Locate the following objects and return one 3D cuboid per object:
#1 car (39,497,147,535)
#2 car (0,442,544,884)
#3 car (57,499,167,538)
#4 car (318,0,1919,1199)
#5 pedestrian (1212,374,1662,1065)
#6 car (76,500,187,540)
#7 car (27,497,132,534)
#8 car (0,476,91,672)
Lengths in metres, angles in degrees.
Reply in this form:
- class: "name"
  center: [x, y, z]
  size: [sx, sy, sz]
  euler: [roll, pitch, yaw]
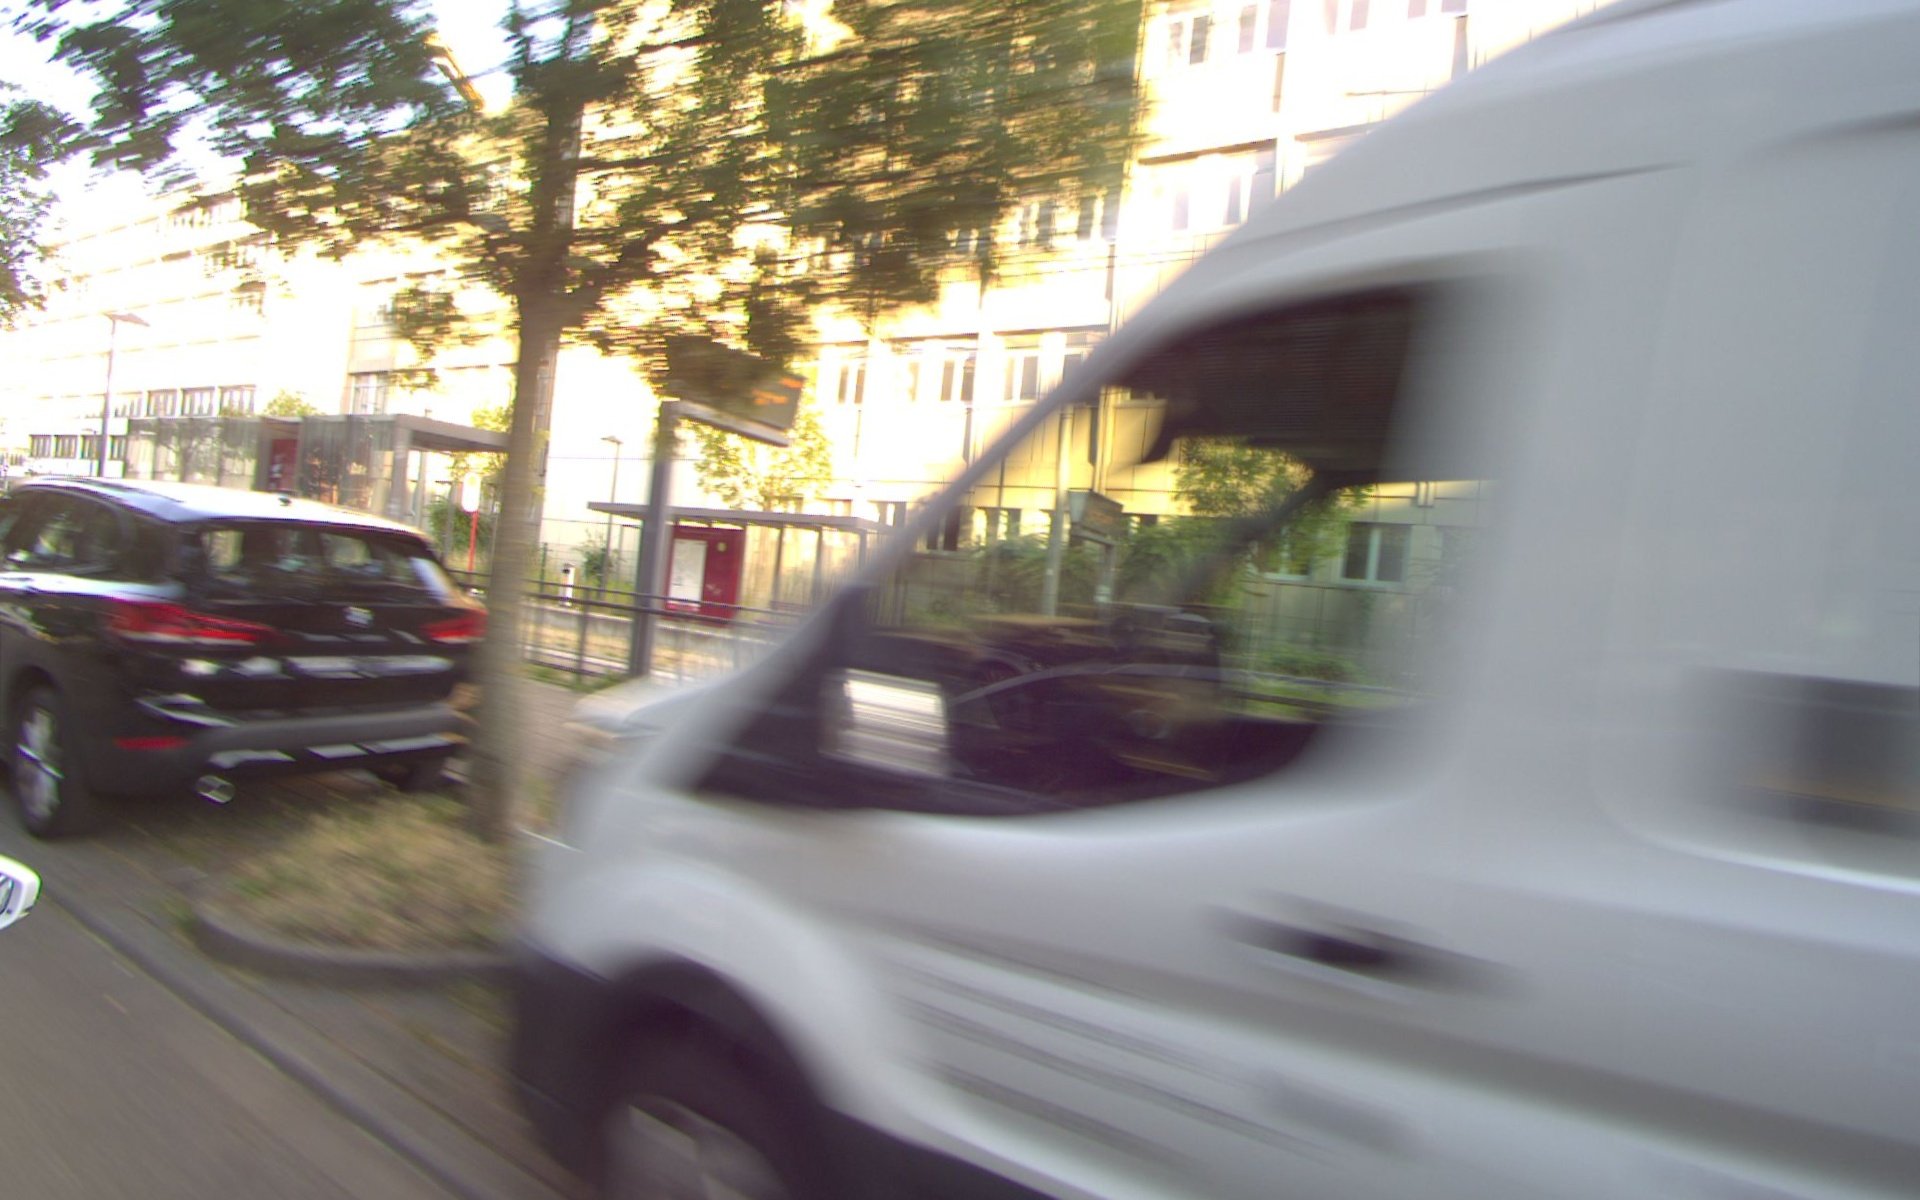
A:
- class: "car"
  center: [-45.706, -4.429, 53.110]
  size: [1.648, 1.506, 3.987]
  euler: [6, 1, 33]
- class: "car"
  center: [-4.460, 0.098, 5.632]
  size: [4.196, 1.664, 1.708]
  euler: [6, 1, 31]
- class: "car"
  center: [-43.702, -4.201, 51.939]
  size: [1.648, 1.506, 3.987]
  euler: [6, 1, 33]
- class: "car"
  center: [1.499, 0.284, 1.647]
  size: [5.343, 2.693, 2.051]
  euler: [6, 3, 31]
- class: "pedestrian"
  center: [1.584, 0.393, 3.530]
  size: [0.795, 2.038, 0.977]
  euler: [6, 0, -13]
- class: "car"
  center: [-41.696, -3.999, 50.700]
  size: [1.648, 1.506, 3.987]
  euler: [6, 1, 33]
- class: "car"
  center: [-47.744, -4.574, 54.623]
  size: [1.648, 1.506, 3.987]
  euler: [6, 1, 33]
- class: "car"
  center: [-9.570, -0.425, 8.783]
  size: [4.703, 1.516, 1.795]
  euler: [7, 3, 34]
